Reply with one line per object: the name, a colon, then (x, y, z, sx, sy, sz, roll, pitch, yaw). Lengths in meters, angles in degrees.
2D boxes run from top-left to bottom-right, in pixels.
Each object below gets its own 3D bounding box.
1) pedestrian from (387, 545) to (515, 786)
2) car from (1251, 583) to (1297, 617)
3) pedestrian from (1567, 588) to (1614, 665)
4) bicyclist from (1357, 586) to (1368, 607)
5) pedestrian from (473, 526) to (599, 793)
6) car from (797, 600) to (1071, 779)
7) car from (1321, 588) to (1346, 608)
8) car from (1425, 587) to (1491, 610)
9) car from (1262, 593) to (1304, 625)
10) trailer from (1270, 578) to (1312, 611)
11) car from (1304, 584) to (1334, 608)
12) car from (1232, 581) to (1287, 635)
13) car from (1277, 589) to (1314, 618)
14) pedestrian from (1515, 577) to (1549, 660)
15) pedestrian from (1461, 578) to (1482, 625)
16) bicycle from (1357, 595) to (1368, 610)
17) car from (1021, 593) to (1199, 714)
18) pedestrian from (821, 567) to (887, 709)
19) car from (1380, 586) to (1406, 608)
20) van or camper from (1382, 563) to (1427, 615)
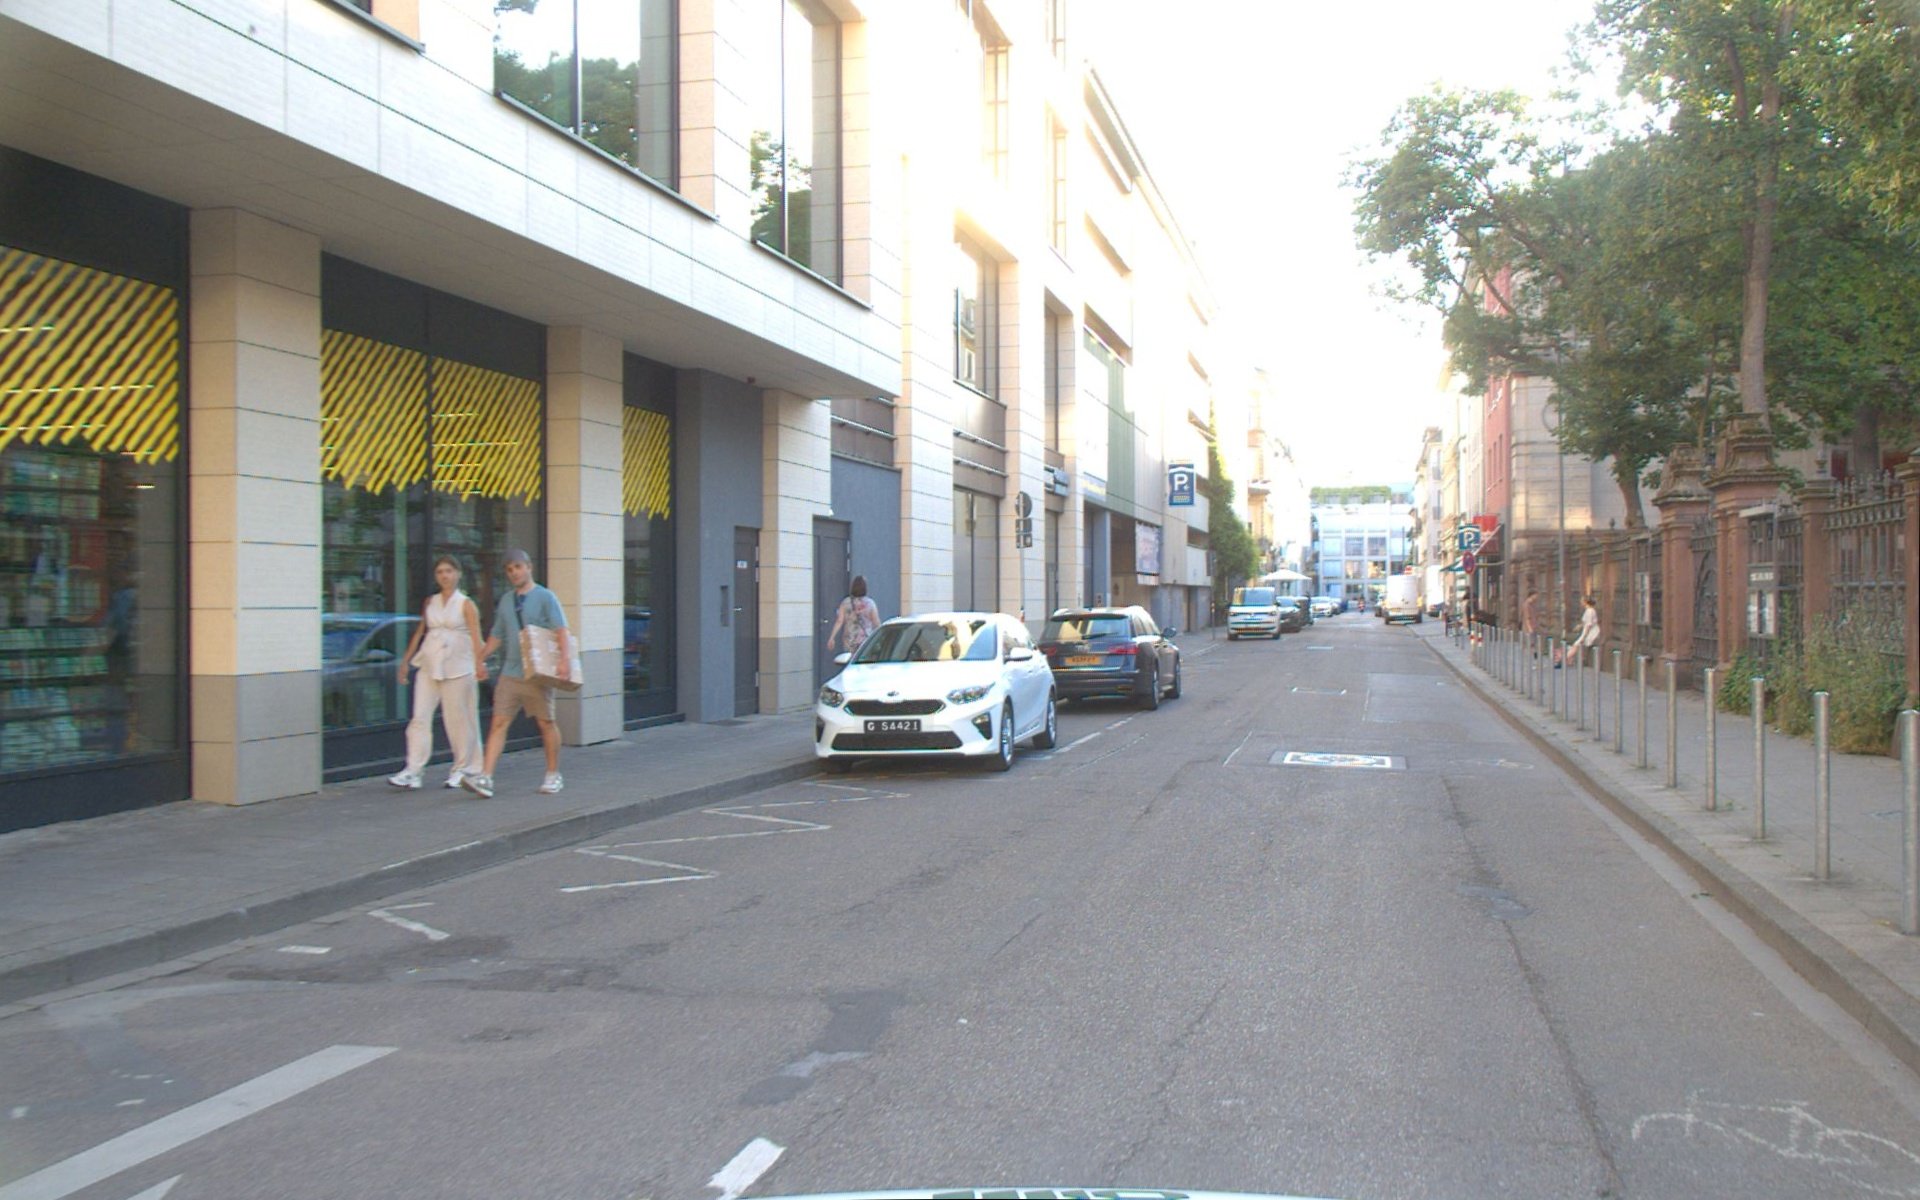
pedestrian: (-3.709, 0.462, 12.084, 0.657, 1.704, 0.648, 0, 0, 12)
car: (13.942, -0.002, 73.302, 1.843, 1.478, 4.004, 0, 0, 13)
pedestrian: (12.763, 0.527, 33.500, 0.733, 1.526, 0.619, -2, 0, 9)
bicyclist: (36.392, -0.299, 149.576, 0.969, 1.901, 0.709, 0, -1, 14)
pedestrian: (-3.056, 0.411, 11.948, 0.657, 1.868, 0.648, 0, 0, 12)
car: (-0.097, 0.762, 16.234, 1.739, 1.478, 4.234, 0, 0, 13)
car: (32.116, -0.157, 142.208, 1.951, 1.713, 4.003, 0, 0, 14)
car: (30.913, -0.098, 102.764, 3.902, 1.445, 1.658, 0, 0, 15)
car: (15.250, 0.398, 77.941, 1.843, 1.478, 4.004, 0, 0, 13)
trailer: (16.471, -0.275, 82.132, 1.951, 1.584, 4.003, 0, 0, 13)
car: (26.071, -0.260, 119.978, 1.951, 1.713, 4.003, 0, 0, 14)
car: (11.288, 0.270, 62.183, 1.843, 1.945, 4.752, 0, 0, 12)
car: (17.584, 0.177, 86.620, 1.843, 1.478, 4.004, 0, 0, 13)
pedestrian: (11.804, 0.370, 34.142, 0.474, 1.687, 0.619, -2, 0, 7)
pedestrian: (18.750, 0.064, 60.652, 0.648, 1.695, 0.624, -2, 0, 14)
bicycle: (36.440, 0.210, 149.758, 0.954, 1.302, 2.756, 0, 0, 14)
car: (2.381, 0.721, 25.066, 1.843, 1.626, 4.692, 0, 0, 16)
pedestrian: (-1.351, 0.476, 21.152, 0.657, 1.775, 0.648, 0, 0, 14)
car: (33.695, -0.213, 128.697, 1.951, 1.713, 4.003, 0, 0, 14)
van or camper: (25.025, -0.582, 93.203, 2.210, 2.652, 5.116, -5, -1, 14)
